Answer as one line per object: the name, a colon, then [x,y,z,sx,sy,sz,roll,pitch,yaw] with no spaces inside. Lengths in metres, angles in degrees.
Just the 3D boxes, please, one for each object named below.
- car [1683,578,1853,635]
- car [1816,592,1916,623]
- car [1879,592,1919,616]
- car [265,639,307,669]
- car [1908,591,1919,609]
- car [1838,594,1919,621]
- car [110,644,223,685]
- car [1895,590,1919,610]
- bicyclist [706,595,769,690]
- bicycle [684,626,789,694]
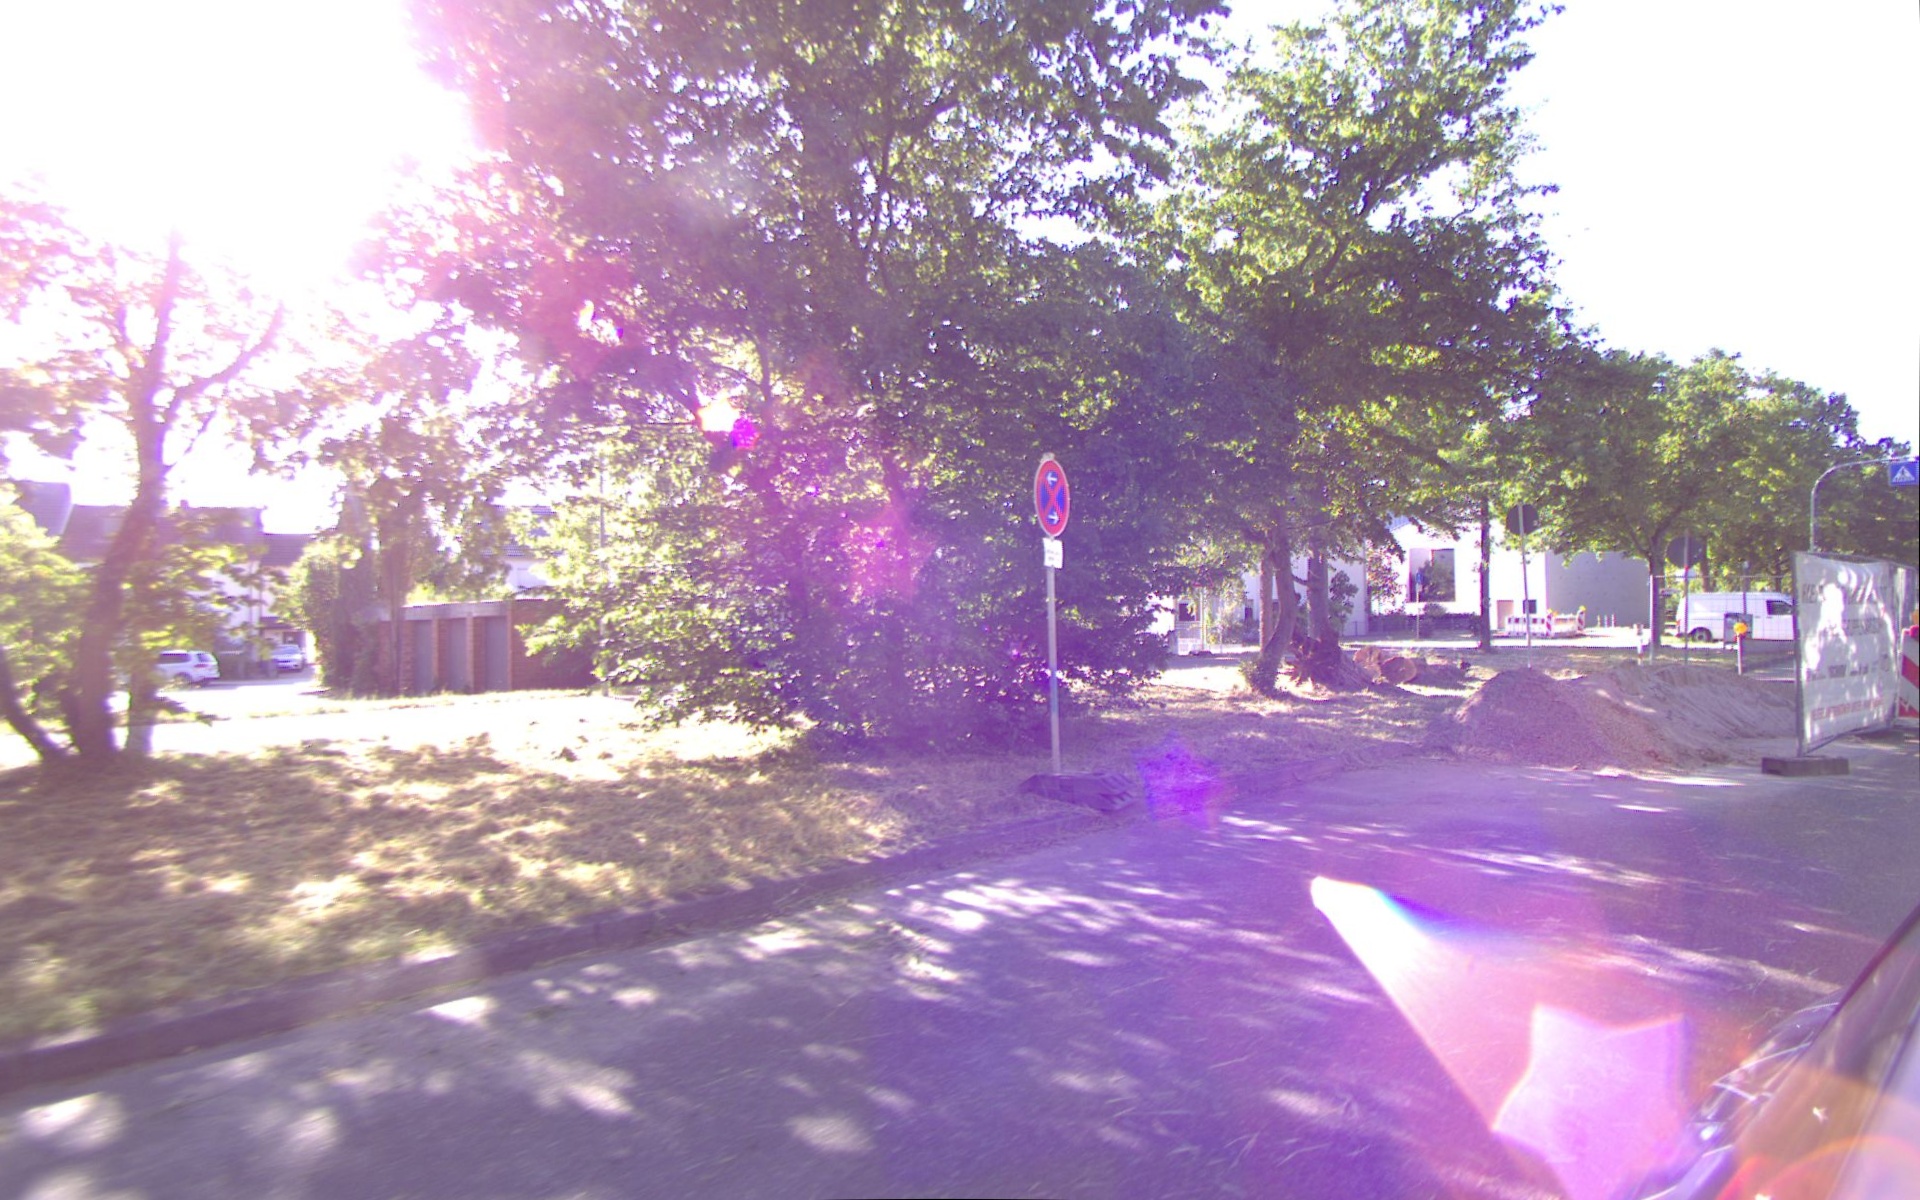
car: [31.892,0.264,40.065,1.859,2.108,5.038,0,-1,-42]
car: [55.571,0.484,62.138,1.506,1.765,4.391,0,-2,-40]
car: [79.968,0.312,84.887,1.831,1.873,3.991,0,-2,-42]
car: [-36.723,2.916,55.186,1.421,1.518,3.644,-1,-2,-26]
car: [106.379,-0.069,110.343,1.916,1.873,4.146,0,-2,-42]
car: [63.604,0.520,69.770,1.506,1.765,4.391,0,-2,-40]
car: [-35.700,2.883,45.615,3.565,1.637,1.813,-1,-2,-8]
car: [94.689,-0.029,99.323,1.916,1.873,4.146,0,-2,-42]
bicyclist: [-4.107,0.782,18.707,0.835,1.687,0.725,-1,-2,-44]
bicycle: [-4.111,1.077,18.669,1.800,1.165,0.676,0,-2,-44]
